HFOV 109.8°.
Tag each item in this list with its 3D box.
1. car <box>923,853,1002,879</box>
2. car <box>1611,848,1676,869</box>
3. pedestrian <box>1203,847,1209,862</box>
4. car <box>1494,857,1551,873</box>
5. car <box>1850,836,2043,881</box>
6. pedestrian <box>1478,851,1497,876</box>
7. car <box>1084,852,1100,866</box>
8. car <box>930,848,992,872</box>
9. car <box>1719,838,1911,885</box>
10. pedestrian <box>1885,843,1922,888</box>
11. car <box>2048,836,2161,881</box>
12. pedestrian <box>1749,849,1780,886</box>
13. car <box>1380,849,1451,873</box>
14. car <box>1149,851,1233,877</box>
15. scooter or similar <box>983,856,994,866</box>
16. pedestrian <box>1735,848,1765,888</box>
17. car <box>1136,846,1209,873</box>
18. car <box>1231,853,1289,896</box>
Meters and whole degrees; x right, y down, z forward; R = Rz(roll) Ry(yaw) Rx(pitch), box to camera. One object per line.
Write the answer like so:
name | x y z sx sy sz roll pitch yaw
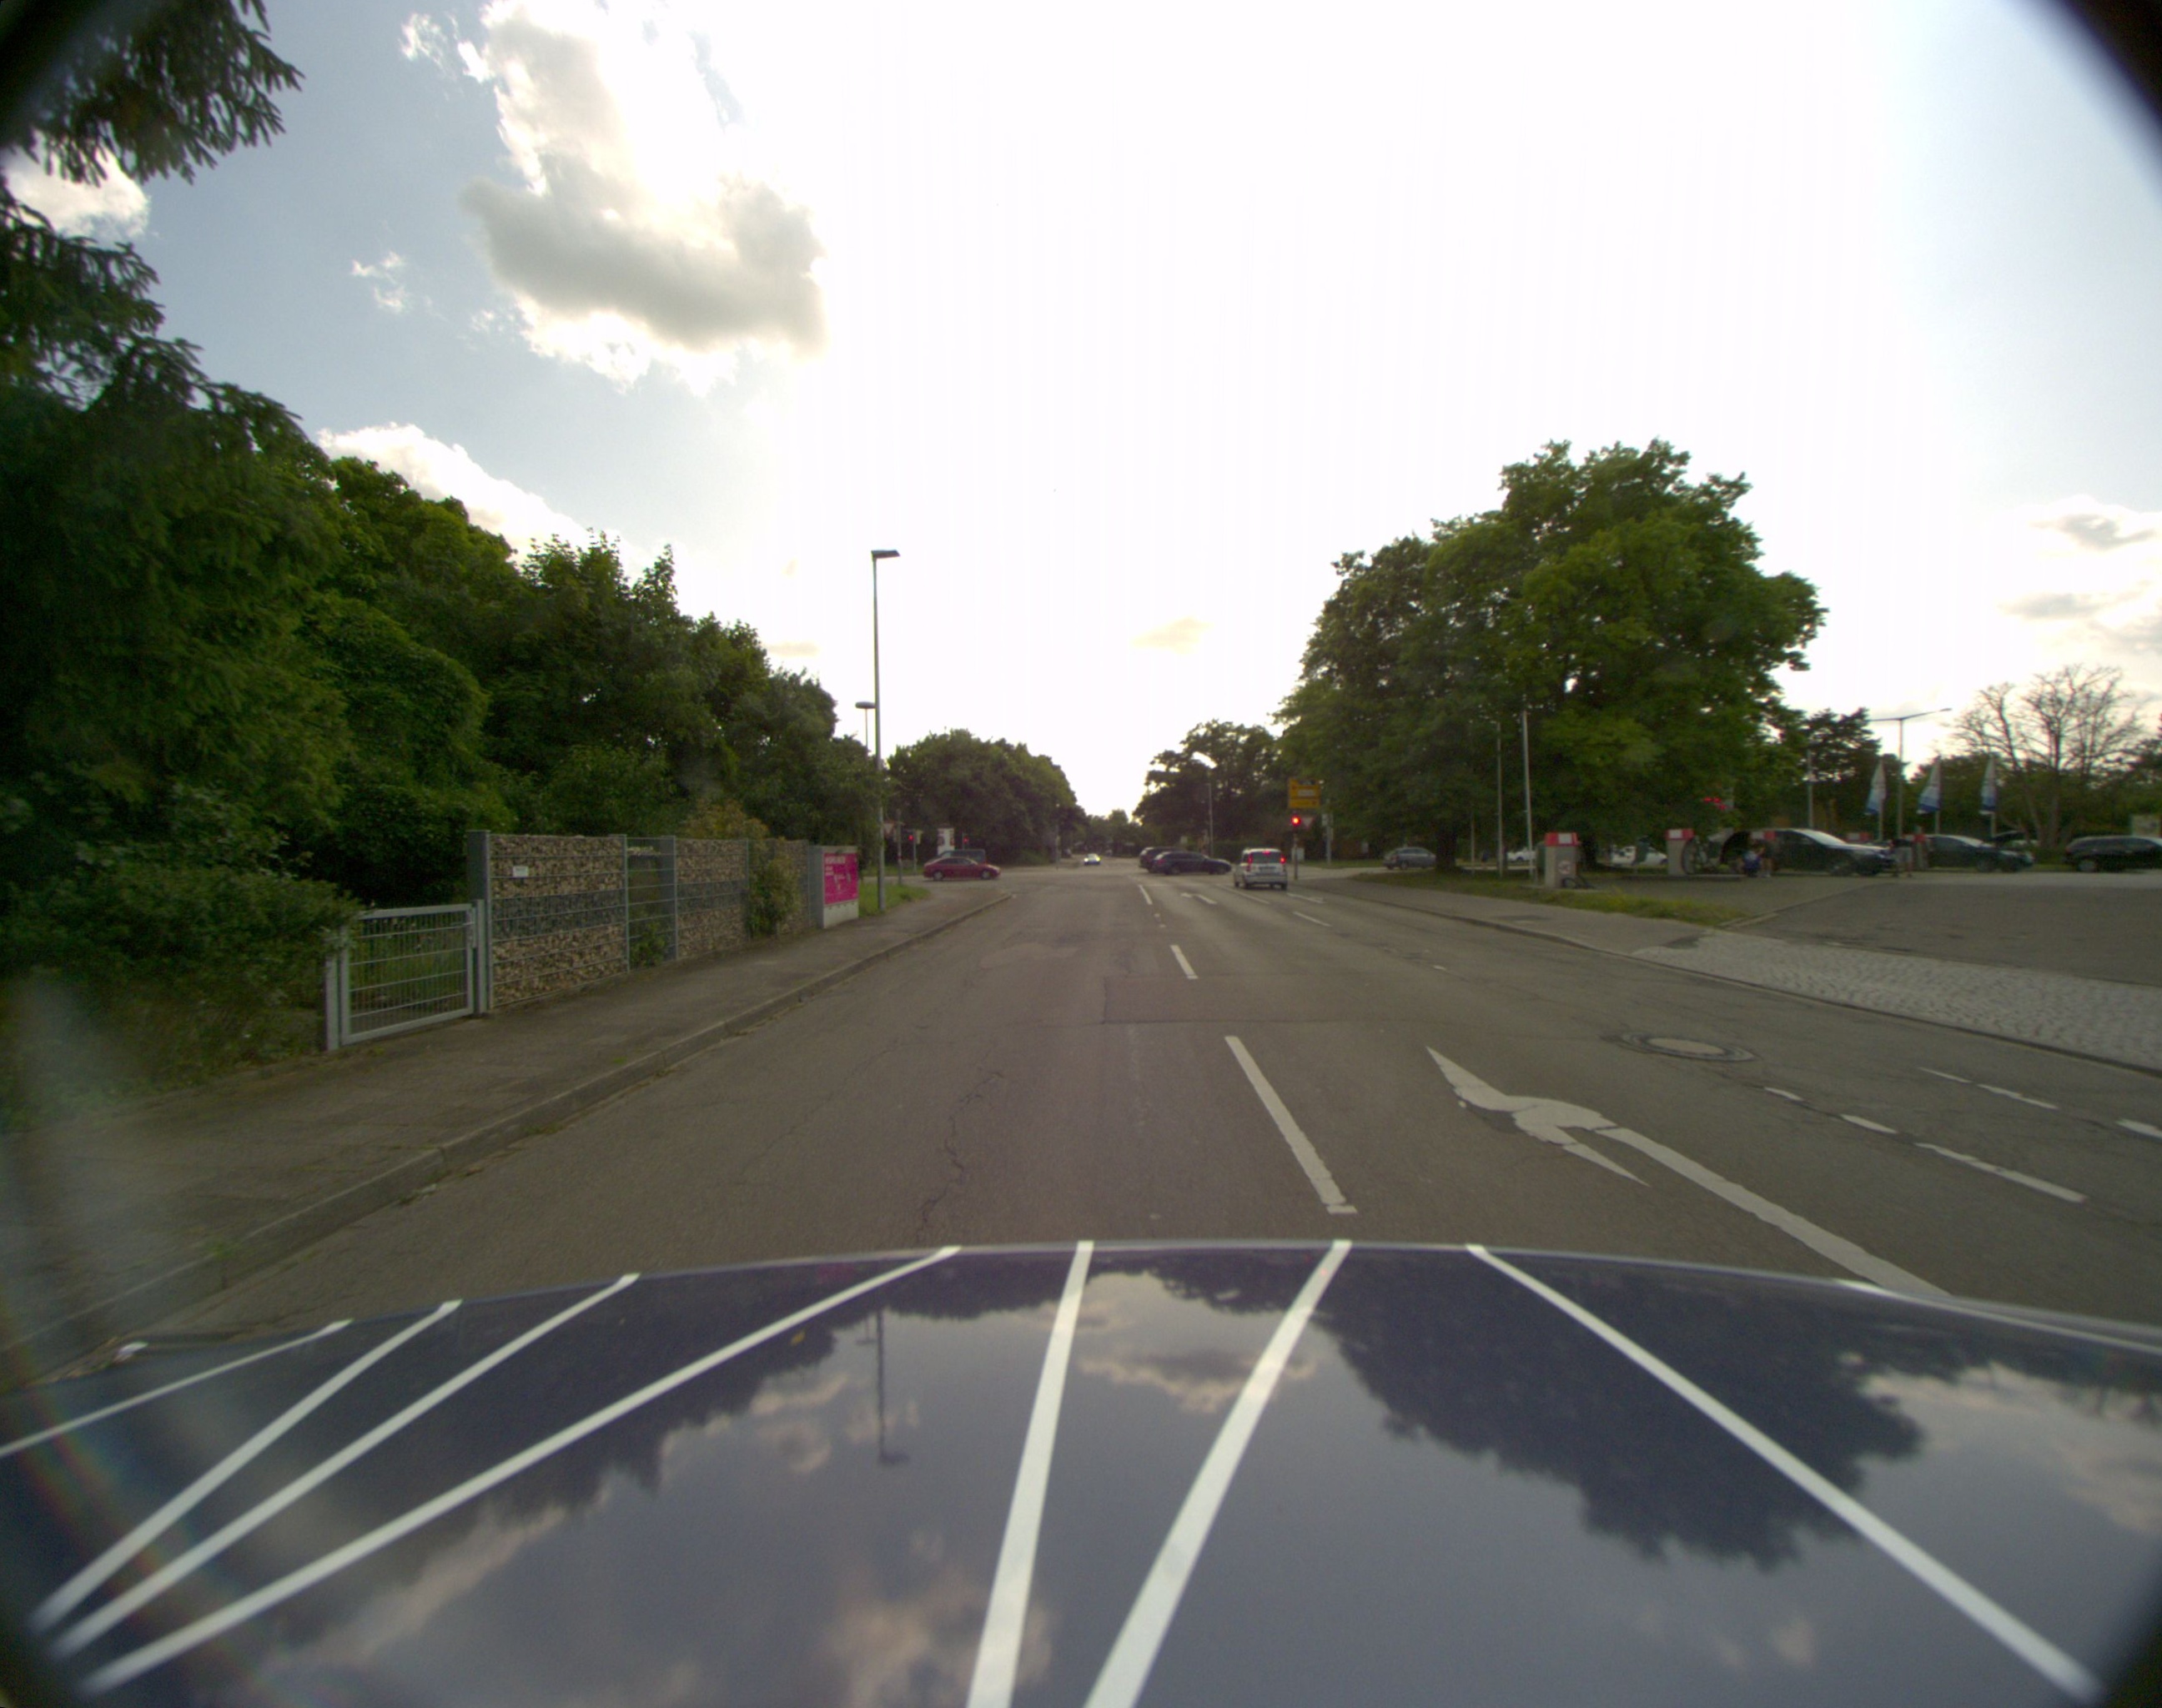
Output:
car | -7.016 0.702 45.014 4.536 1.454 1.726 0 3 -10
car | 39.673 0.306 53.617 3.540 1.488 1.573 0 1 -8
pedestrian | 14.041 0.070 85.441 0.691 1.732 0.705 0 1 13
car | 40.895 0.992 70.378 4.536 1.454 1.727 0 1 -10
car | 37.891 0.172 33.488 2.156 1.816 5.188 0 0 -20
pedestrian | 25.362 0.576 47.394 0.761 1.523 0.726 0 1 -26
car | 1.285 0.600 89.207 1.729 1.421 3.998 1 2 1
car | -9.494 0.441 60.220 4.817 1.846 1.769 -1 1 -10
car | 26.617 0.244 27.787 2.156 1.586 4.556 0 0 -20
pedestrian | 27.895 0.370 25.767 0.620 1.487 0.561 0 3 -17
car | 48.897 0.210 34.840 2.155 1.992 5.191 0 0 -13
pedestrian | 22.992 0.430 25.556 0.643 1.183 0.767 3 3 36
car | 23.731 0.465 53.989 4.360 1.610 1.702 0 2 -10
car | 6.912 0.621 47.731 4.874 1.489 1.800 1 3 -10
scooter or similar | -8.998 0.693 73.633 1.036 0.937 0.296 1 3 -3
pedestrian | 22.167 0.457 25.186 0.643 1.249 0.767 3 3 36
car | 6.141 0.349 51.318 4.550 1.736 1.816 1 2 -10
car | 6.797 0.725 29.105 1.557 1.508 3.609 0 1 3
